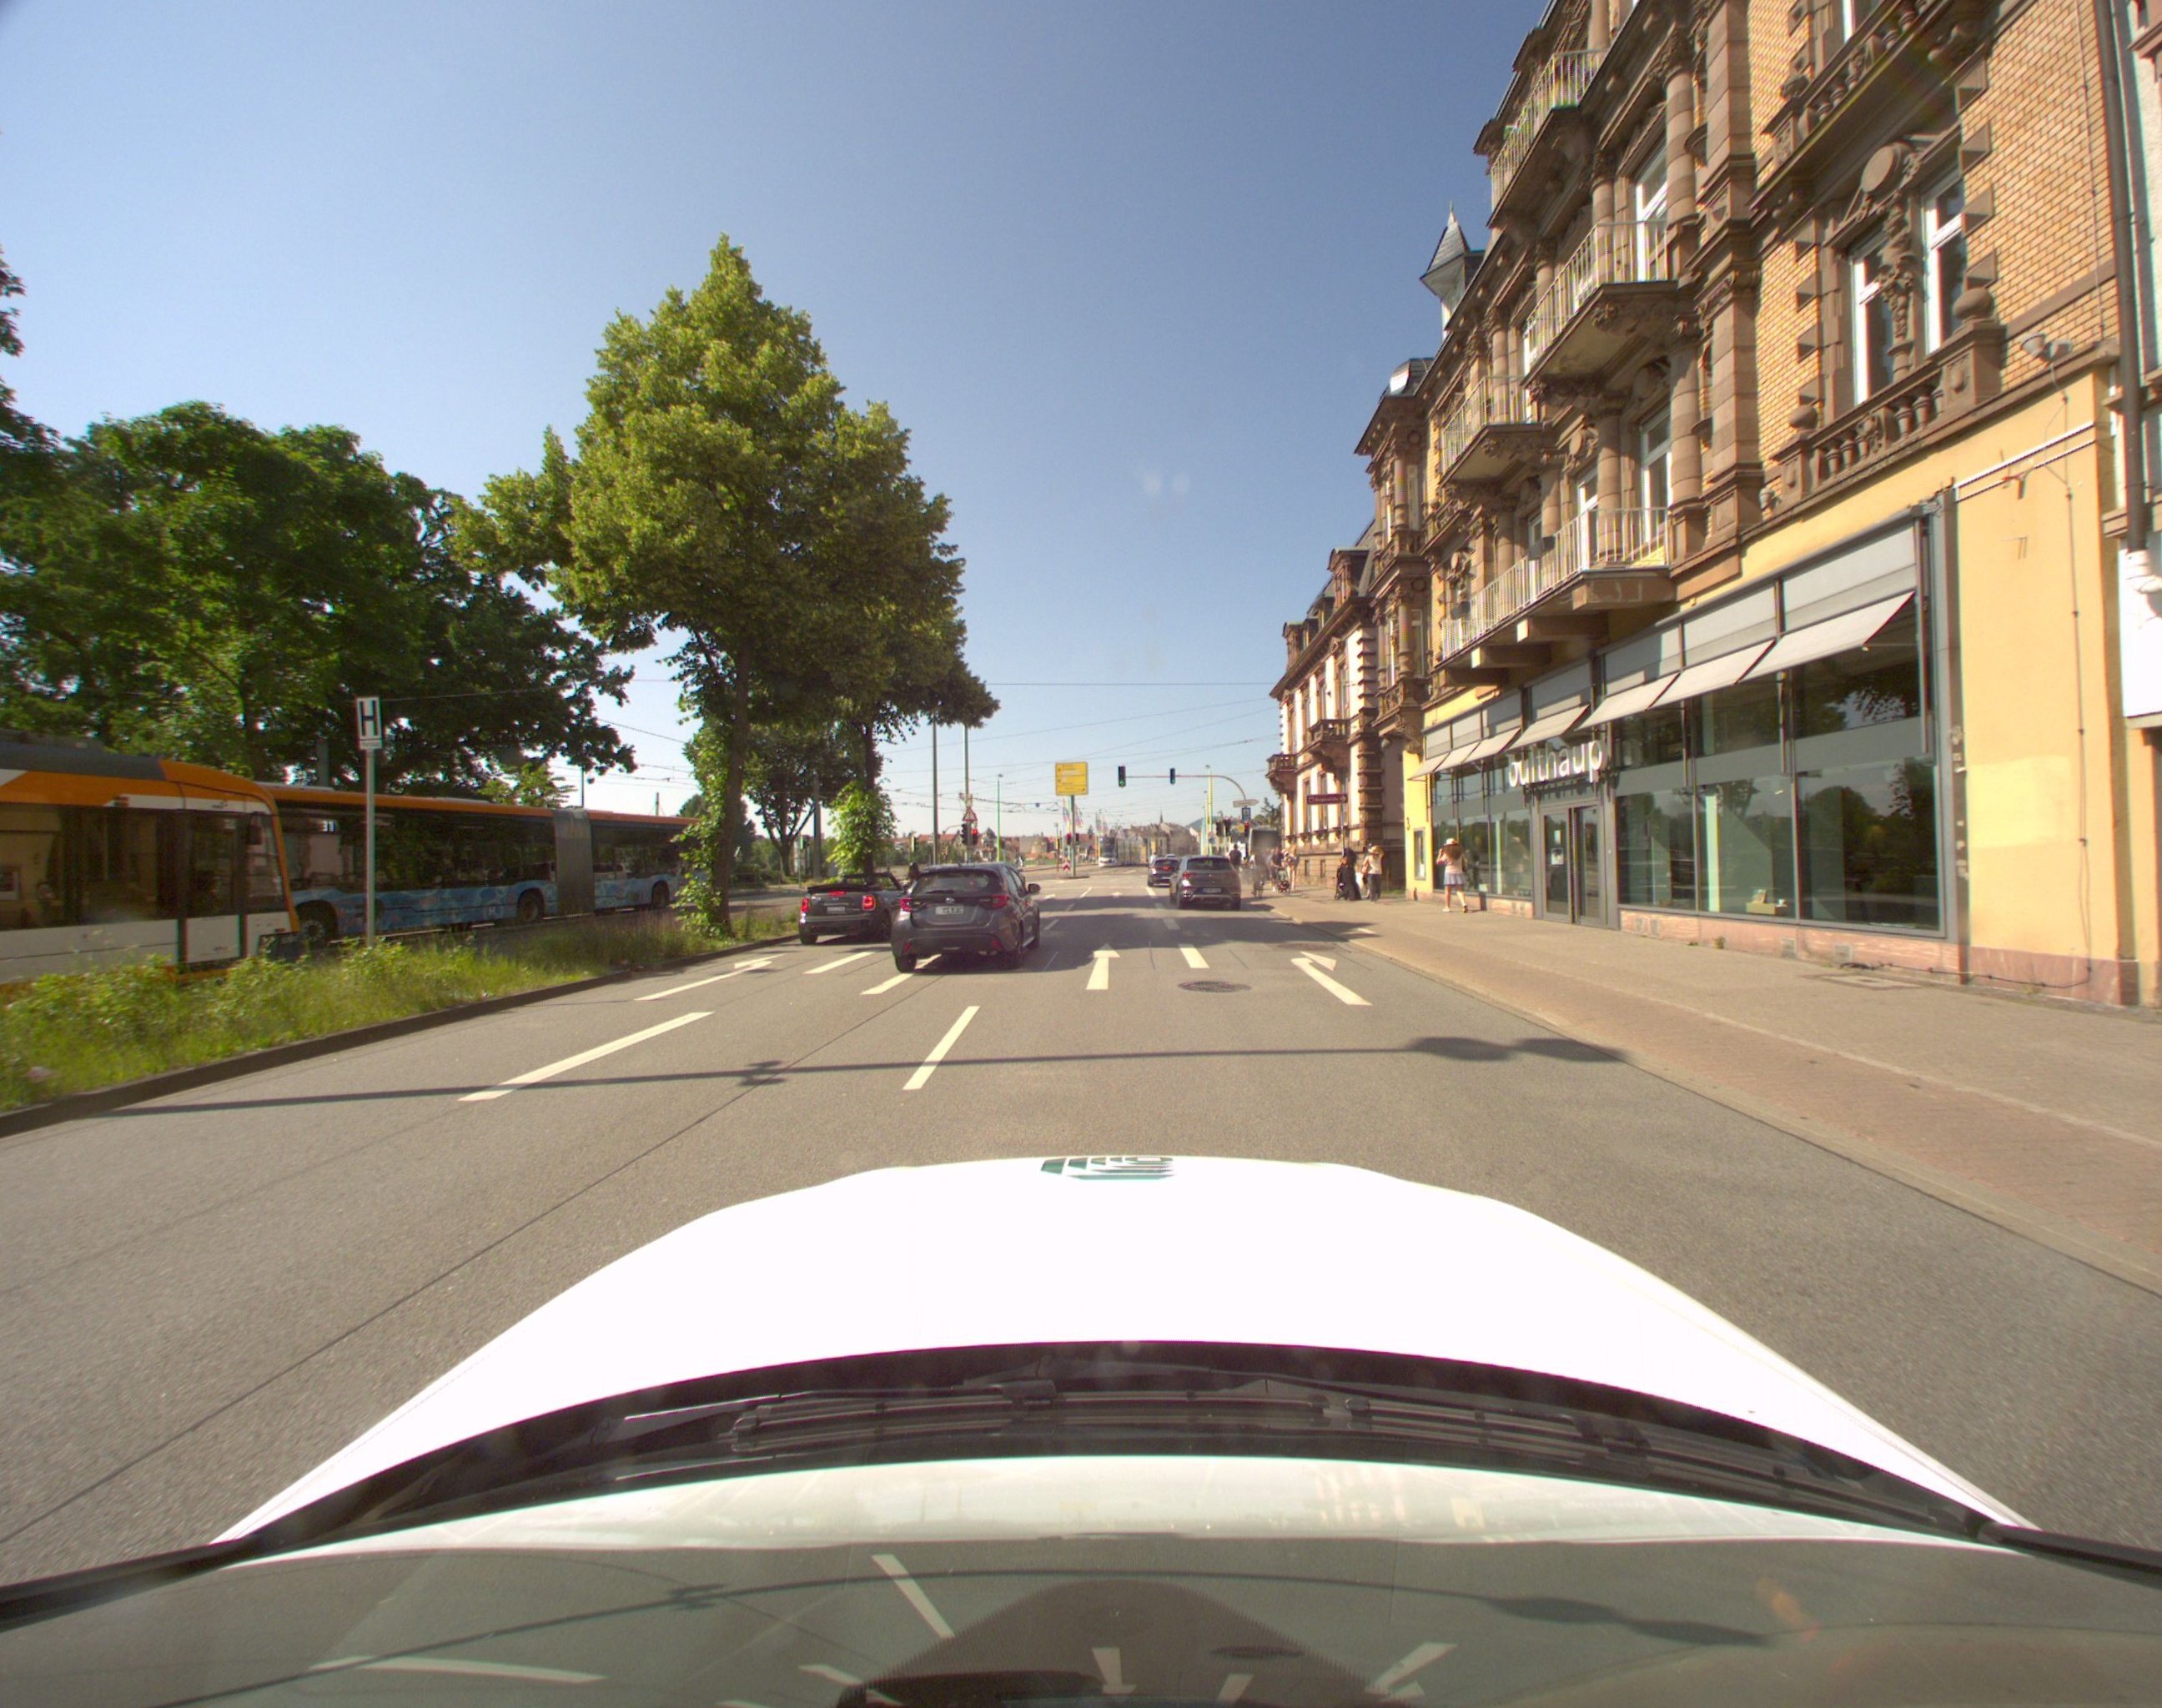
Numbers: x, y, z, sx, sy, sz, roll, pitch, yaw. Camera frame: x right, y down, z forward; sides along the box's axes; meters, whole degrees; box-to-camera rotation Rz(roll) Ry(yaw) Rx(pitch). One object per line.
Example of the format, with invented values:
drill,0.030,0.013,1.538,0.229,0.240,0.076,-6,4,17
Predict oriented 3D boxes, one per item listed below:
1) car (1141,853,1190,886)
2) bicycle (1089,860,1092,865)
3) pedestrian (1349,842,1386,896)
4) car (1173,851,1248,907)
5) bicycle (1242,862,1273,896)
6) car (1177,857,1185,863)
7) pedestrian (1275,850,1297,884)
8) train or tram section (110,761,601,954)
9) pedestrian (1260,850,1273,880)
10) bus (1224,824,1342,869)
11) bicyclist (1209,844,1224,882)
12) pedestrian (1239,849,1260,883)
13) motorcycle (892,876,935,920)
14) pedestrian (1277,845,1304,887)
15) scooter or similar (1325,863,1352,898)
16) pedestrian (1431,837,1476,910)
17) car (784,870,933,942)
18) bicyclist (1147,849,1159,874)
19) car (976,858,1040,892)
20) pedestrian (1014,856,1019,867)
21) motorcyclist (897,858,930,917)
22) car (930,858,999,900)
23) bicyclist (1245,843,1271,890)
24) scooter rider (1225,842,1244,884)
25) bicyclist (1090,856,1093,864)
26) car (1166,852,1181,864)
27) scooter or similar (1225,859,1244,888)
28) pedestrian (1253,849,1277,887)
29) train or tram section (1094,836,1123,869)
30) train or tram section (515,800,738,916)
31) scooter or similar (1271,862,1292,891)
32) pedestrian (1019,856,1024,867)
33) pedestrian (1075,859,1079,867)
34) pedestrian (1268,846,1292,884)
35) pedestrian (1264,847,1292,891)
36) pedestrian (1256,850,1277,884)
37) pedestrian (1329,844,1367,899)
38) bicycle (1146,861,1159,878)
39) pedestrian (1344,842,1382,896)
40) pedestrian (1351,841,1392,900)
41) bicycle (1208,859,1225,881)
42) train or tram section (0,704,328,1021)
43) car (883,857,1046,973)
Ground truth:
car,4.100,0.778,40.117,1.987,1.493,4.000,1,-1,1
bicycle,1.988,1.696,162.448,0.556,1.125,1.223,1,-1,2
pedestrian,9.062,0.475,25.786,0.859,1.640,0.876,1,-1,2
car,3.768,0.714,24.230,1.865,1.493,4.004,1,-1,4
bicycle,6.072,0.851,28.085,0.731,1.093,1.899,1,-1,3
car,24.709,1.536,201.548,1.850,1.507,4.004,1,-1,4
pedestrian,10.224,0.634,40.603,0.859,1.640,0.876,1,-1,2
train or tram section,-16.554,0.102,20.270,2.810,3.581,10.040,-1,0,3
pedestrian,10.413,0.609,45.641,0.574,1.640,0.611,1,-1,2
bus,14.402,-0.450,57.693,8.670,2.777,2.949,2,-1,-32
bicyclist,7.067,0.471,42.389,0.685,1.962,0.779,1,-1,6
pedestrian,8.298,0.609,40.151,0.859,1.640,0.876,1,-1,2
motorcycle,-4.491,1.172,21.985,0.696,1.064,1.910,-2,0,1
pedestrian,8.324,0.481,32.352,0.859,1.640,0.876,-1,0,2
scooter or similar,8.067,0.817,25.499,0.598,1.047,0.800,1,-1,1
pedestrian,8.526,0.439,18.677,0.652,1.621,0.816,-1,0,2
car,-4.594,1.031,17.491,1.807,1.332,4.004,-1,-1,4
bicyclist,4.642,0.497,52.615,0.685,1.577,1.050,1,-1,2
car,-3.051,0.887,34.797,2.028,1.332,4.004,1,-1,4
pedestrian,-8.362,0.950,105.994,0.556,1.416,0.636,1,-1,1
motorcyclist,-4.510,0.896,22.014,0.687,1.556,0.718,-2,-2,0
car,-3.837,0.817,27.435,1.445,1.301,4.004,1,-1,4
bicyclist,6.092,0.425,28.029,0.685,1.577,1.050,1,-1,3
scooter rider,6.436,0.374,34.096,0.685,1.729,0.779,1,-1,6
bicyclist,2.008,1.252,162.439,0.556,1.537,0.744,1,-1,2
car,12.273,0.540,108.551,1.850,1.507,4.004,1,-1,4
scooter or similar,6.401,0.823,33.995,0.685,1.167,1.466,1,-1,6
pedestrian,8.224,0.623,36.368,0.859,1.640,0.876,1,-1,2
train or tram section,3.387,-0.184,97.855,2.809,3.777,8.238,1,0,5
train or tram section,-15.874,0.141,29.396,2.809,3.581,8.238,-1,0,5
scooter or similar,7.533,0.834,30.566,0.598,1.047,0.800,1,-1,1
pedestrian,-7.698,0.965,105.966,0.556,1.416,0.636,1,-1,1
pedestrian,-0.746,1.729,152.650,0.556,1.416,0.636,1,-1,1
pedestrian,8.811,0.484,36.086,0.859,1.640,0.876,1,-1,2
pedestrian,7.560,0.564,31.307,0.859,1.640,0.876,1,-1,2
pedestrian,9.231,0.636,40.498,0.859,1.640,0.876,1,-1,2
pedestrian,8.127,0.532,24.827,0.859,1.640,0.876,1,-1,2
bicycle,4.628,0.989,52.643,0.731,1.093,1.898,1,-1,2
pedestrian,8.850,0.464,25.574,0.859,1.640,0.876,-1,0,2
pedestrian,8.333,0.475,23.374,0.859,1.640,0.876,-1,-1,2
bicycle,7.051,0.837,42.457,0.730,1.093,1.901,1,-1,6
train or tram section,-13.443,0.074,9.933,2.602,3.581,6.022,1,0,3
car,-1.623,0.842,12.729,1.770,1.475,4.002,-2,-1,2
